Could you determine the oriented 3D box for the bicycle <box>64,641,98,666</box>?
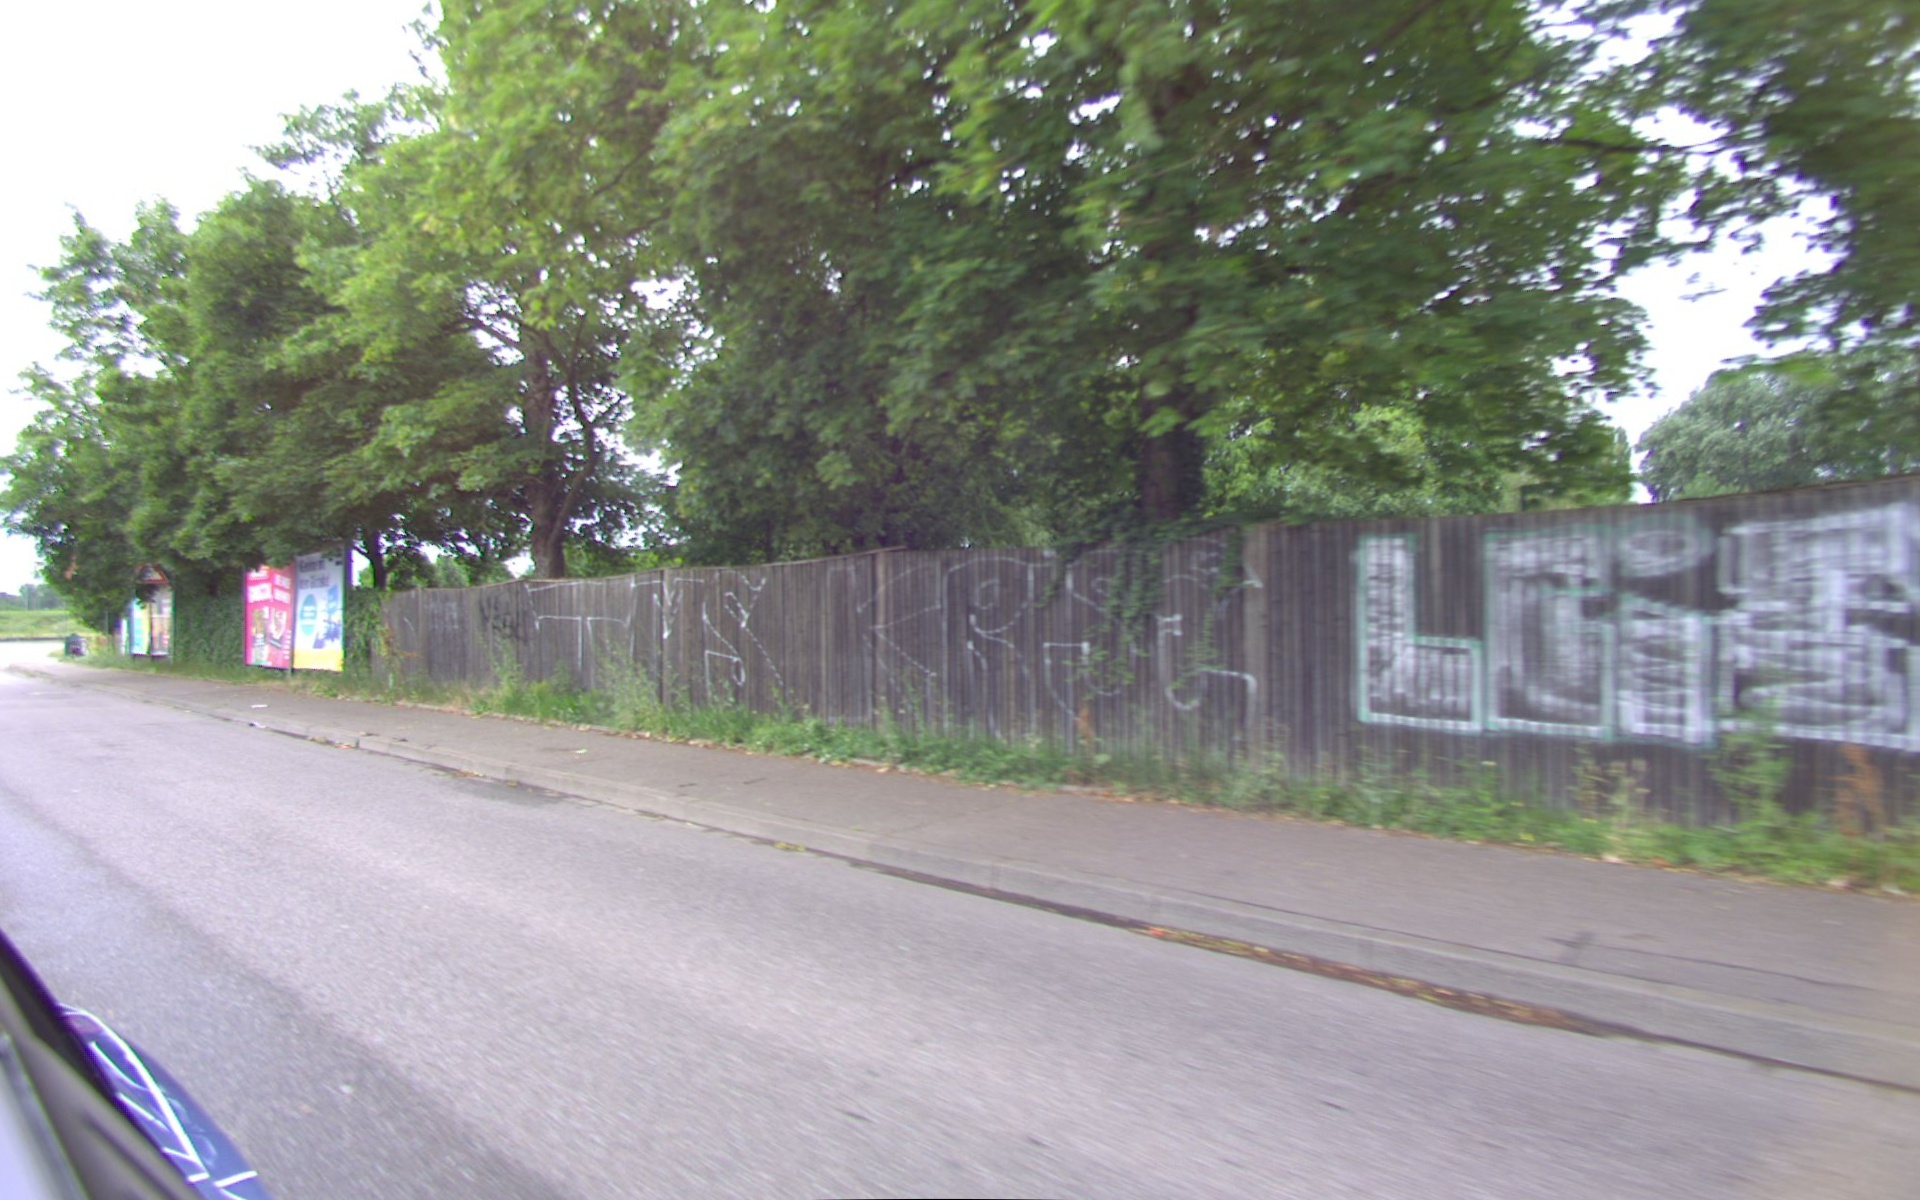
[{"bbox_3d":[-39.358,2.398,45.339,0.574,1.006,1.776,-3,0,-22],"label":"bicycle"}]
